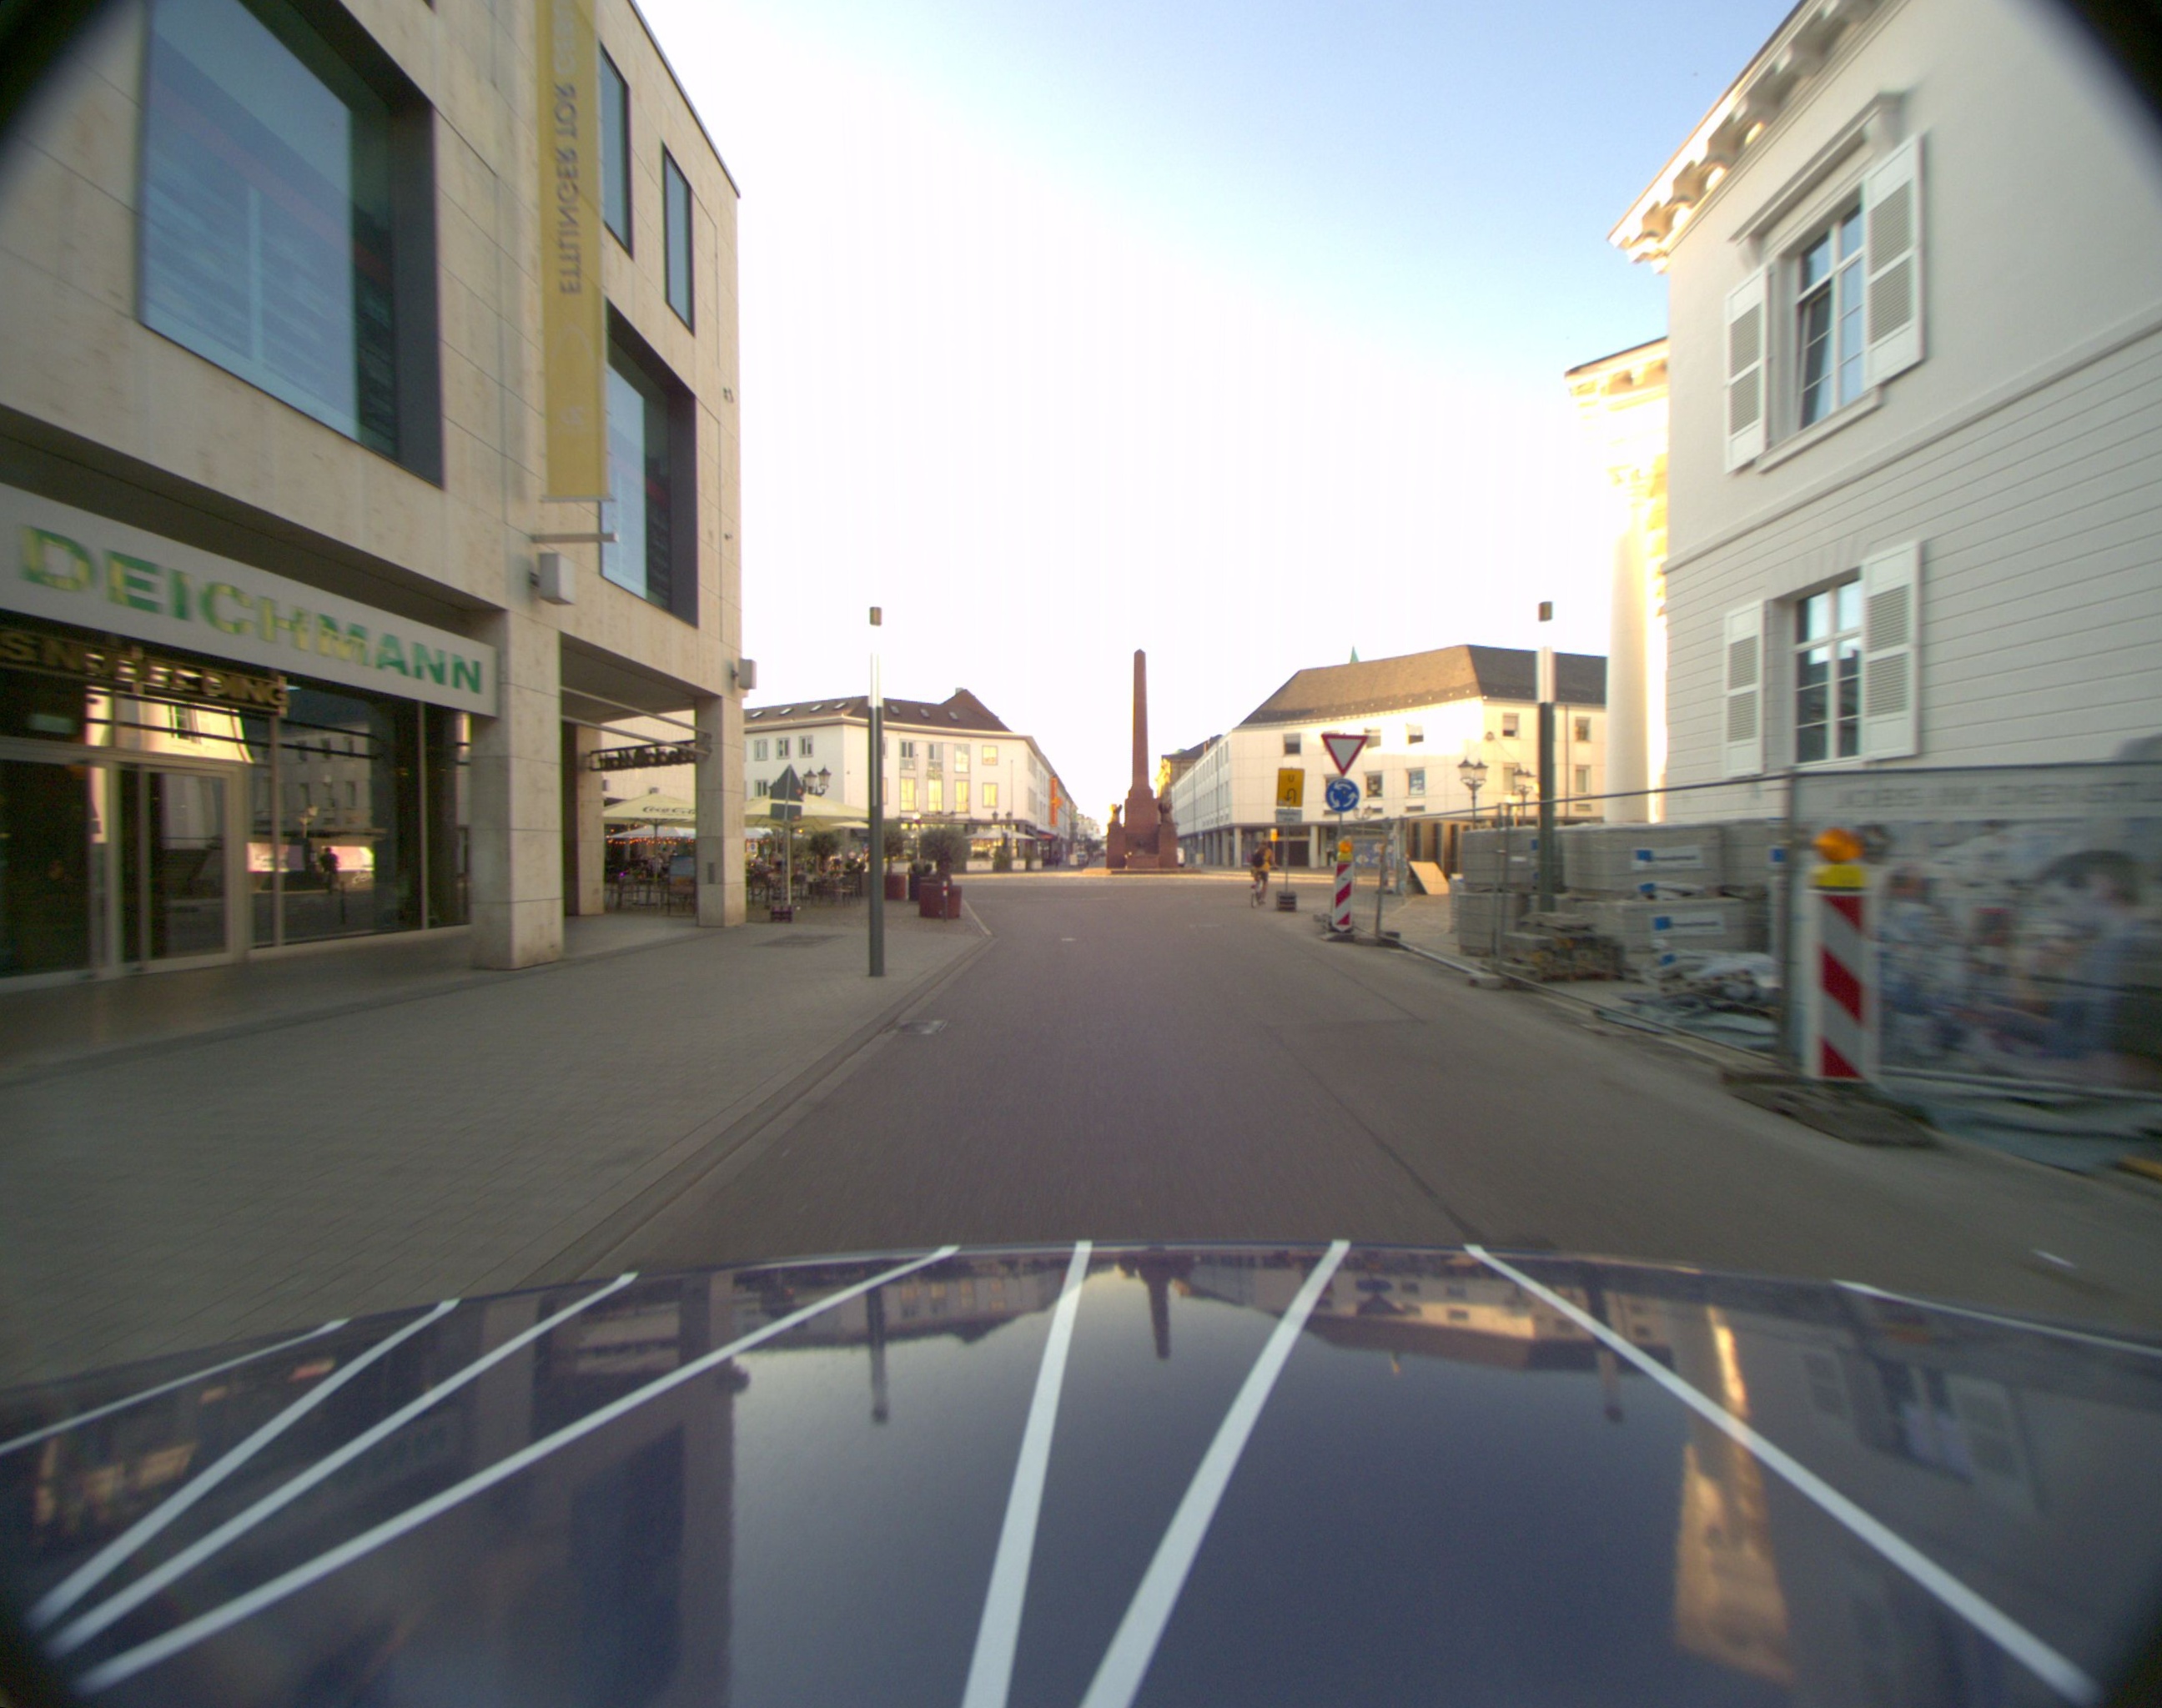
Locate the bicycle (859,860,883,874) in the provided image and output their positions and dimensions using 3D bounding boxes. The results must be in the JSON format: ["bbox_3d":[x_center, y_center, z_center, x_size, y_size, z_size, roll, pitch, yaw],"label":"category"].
[{"bbox_3d":[-15.119,0.920,54.674,0.473,0.928,1.681,0,1,39],"label":"bicycle"}]

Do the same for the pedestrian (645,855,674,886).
[{"bbox_3d":[-19.743,0.759,35.605,0.773,1.439,0.853,0,1,16],"label":"pedestrian"}]

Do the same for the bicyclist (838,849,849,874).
[{"bbox_3d":[-16.759,0.516,53.642,0.482,1.733,0.835,-1,1,4],"label":"bicyclist"}]

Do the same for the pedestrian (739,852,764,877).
[{"bbox_3d":[-19.402,0.638,44.742,0.969,1.439,0.947,0,1,17],"label":"pedestrian"}]

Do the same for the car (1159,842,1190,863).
[{"bbox_3d":[8.561,-0.146,69.907,2.021,1.815,4.458,-1,0,-5],"label":"car"}]

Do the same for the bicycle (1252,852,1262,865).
[{"bbox_3d":[15.658,0.397,67.702,0.480,1.149,1.949,-1,1,1],"label":"bicycle"}]

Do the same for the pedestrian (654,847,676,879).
[{"bbox_3d":[-22.795,0.468,41.644,0.709,1.737,0.717,-1,1,8],"label":"pedestrian"}]

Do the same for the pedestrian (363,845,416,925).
[{"bbox_3d":[-16.481,0.719,18.124,0.716,1.851,0.670,0,1,25],"label":"pedestrian"}]

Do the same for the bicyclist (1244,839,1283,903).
[{"bbox_3d":[4.526,0.407,18.823,0.797,1.523,0.975,0,1,22],"label":"bicyclist"}]

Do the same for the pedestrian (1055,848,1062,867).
[{"bbox_3d":[-1.995,0.287,67.705,0.604,1.691,0.713,-1,1,-4],"label":"pedestrian"}]

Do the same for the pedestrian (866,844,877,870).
[{"bbox_3d":[-15.032,0.225,54.614,0.508,1.808,0.719,-1,1,3],"label":"pedestrian"}]

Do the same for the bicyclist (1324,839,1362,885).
[{"bbox_3d":[9.268,0.272,26.874,1.233,1.593,0.796,-1,1,-43],"label":"bicyclist"}]

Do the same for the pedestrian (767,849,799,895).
[{"bbox_3d":[-10.564,0.628,26.950,0.748,1.579,0.715,0,1,20],"label":"pedestrian"}]

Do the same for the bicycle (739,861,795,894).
[{"bbox_3d":[-11.066,0.827,26.838,0.606,1.121,1.910,0,-1,27],"label":"bicycle"}]

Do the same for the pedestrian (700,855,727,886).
[{"bbox_3d":[-17.461,0.786,36.136,0.721,1.439,0.867,0,1,26],"label":"pedestrian"}]

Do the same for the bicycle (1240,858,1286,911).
[{"bbox_3d":[4.547,0.713,18.857,0.797,1.210,2.236,0,1,22],"label":"bicycle"}]

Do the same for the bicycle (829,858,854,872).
[{"bbox_3d":[-16.453,0.741,52.250,0.473,0.928,1.681,0,1,39],"label":"bicycle"}]

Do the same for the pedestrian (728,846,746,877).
[{"bbox_3d":[-19.804,0.428,43.752,0.708,1.737,0.718,0,1,40],"label":"pedestrian"}]

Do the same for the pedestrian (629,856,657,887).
[{"bbox_3d":[-20.603,0.803,35.748,0.773,1.439,0.854,0,1,17],"label":"pedestrian"}]

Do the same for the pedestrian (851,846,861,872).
[{"bbox_3d":[-16.533,0.387,55.826,0.580,1.912,0.543,-1,1,3],"label":"pedestrian"}]

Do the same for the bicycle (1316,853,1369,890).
[{"bbox_3d":[9.272,0.590,26.886,2.238,1.210,0.796,-1,1,-43],"label":"bicycle"}]

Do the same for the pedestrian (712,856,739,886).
[{"bbox_3d":[-17.366,0.804,37.122,0.721,1.439,0.867,0,1,26],"label":"pedestrian"}]

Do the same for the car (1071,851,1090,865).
[{"bbox_3d":[-0.031,0.377,77.979,1.781,1.416,3.961,-1,0,1],"label":"car"}]

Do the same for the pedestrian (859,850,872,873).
[{"bbox_3d":[-15.726,0.521,55.448,0.619,1.667,0.734,-1,1,3],"label":"pedestrian"}]

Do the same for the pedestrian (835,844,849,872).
[{"bbox_3d":[-16.485,0.299,52.375,0.644,1.917,0.629,0,1,26],"label":"pedestrian"}]

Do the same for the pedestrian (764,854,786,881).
[{"bbox_3d":[-17.048,0.745,42.306,0.721,1.439,0.867,0,1,26],"label":"pedestrian"}]

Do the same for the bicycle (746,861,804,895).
[{"bbox_3d":[-10.376,0.801,25.846,0.606,1.121,1.910,0,-1,27],"label":"bicycle"}]

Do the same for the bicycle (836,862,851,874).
[{"bbox_3d":[-16.744,0.991,53.659,0.482,0.843,1.484,-1,1,4],"label":"bicycle"}]

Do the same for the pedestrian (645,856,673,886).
[{"bbox_3d":[-20.385,0.804,36.715,0.773,1.439,0.854,0,1,17],"label":"pedestrian"}]
